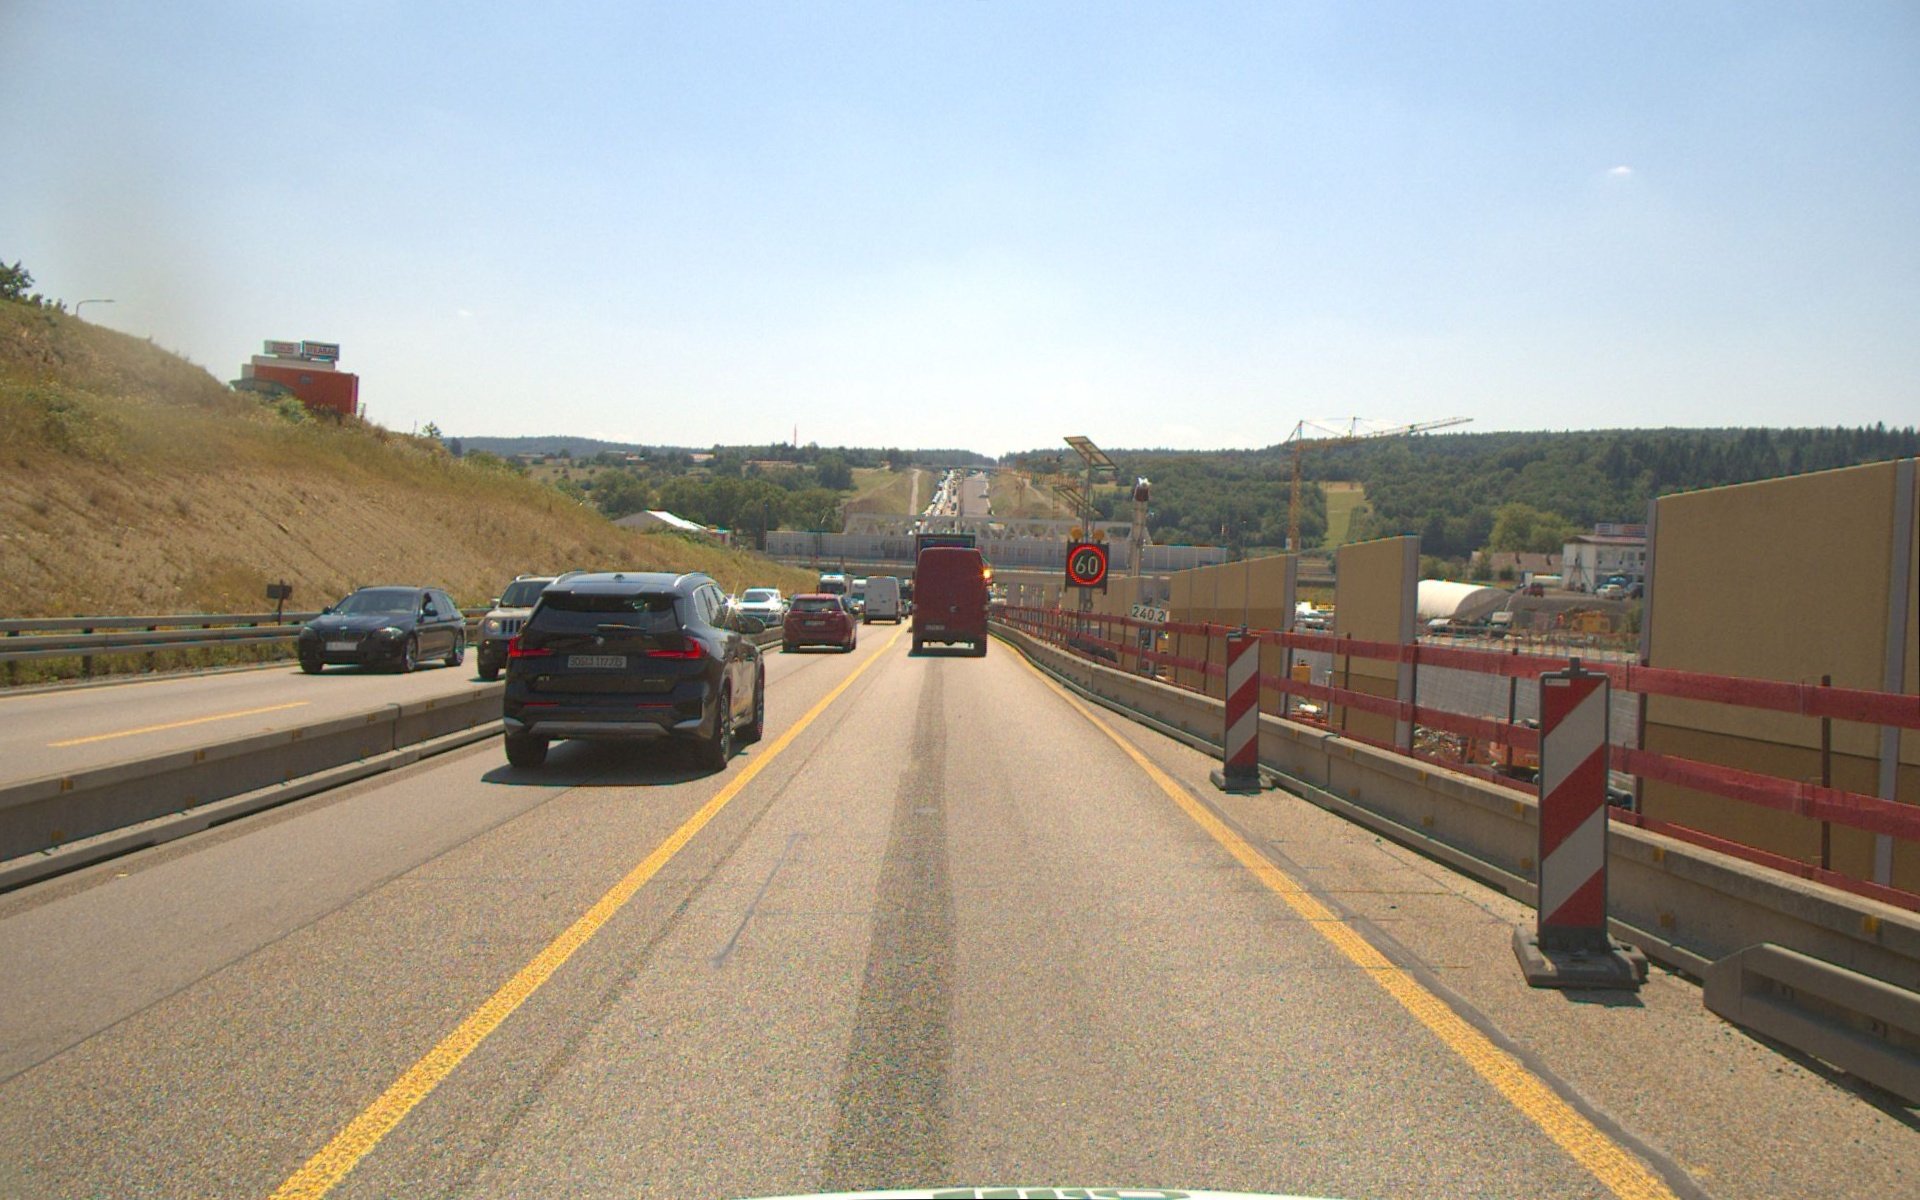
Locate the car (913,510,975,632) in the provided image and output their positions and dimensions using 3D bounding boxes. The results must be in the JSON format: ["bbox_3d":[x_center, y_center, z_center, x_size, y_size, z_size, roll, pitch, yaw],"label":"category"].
[{"bbox_3d":[-0.765,-1.221,74.924,2.568,5.120,10.394,0,0,-1],"label":"car"}]

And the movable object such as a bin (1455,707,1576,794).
[{"bbox_3d":[19.285,5.186,57.661,2.555,2.533,4.453,2,0,-1],"label":"movable object such as a bin"}]

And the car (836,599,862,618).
[{"bbox_3d":[-8.619,0.624,128.977,1.760,1.452,4.948,1,0,-1],"label":"car"}]

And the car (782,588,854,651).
[{"bbox_3d":[-3.645,0.477,43.096,1.740,1.544,4.203,0,0,-3],"label":"car"}]

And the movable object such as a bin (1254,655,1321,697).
[{"bbox_3d":[23.262,5.389,117.892,3.099,2.488,7.894,3,0,0],"label":"movable object such as a bin"}]

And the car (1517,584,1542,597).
[{"bbox_3d":[60.389,-0.957,175.312,1.483,1.339,3.430,1,0,1],"label":"car"}]

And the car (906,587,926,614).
[{"bbox_3d":[-3.887,0.053,146.169,1.740,2.370,4.205,0,0,-1],"label":"car"}]

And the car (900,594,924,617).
[{"bbox_3d":[-3.600,0.409,124.756,1.740,1.699,4.027,0,0,-1],"label":"car"}]

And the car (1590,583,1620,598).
[{"bbox_3d":[67.910,-0.993,174.174,1.646,1.544,4.075,1,0,1],"label":"car"}]

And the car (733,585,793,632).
[{"bbox_3d":[-7.441,0.298,62.894,1.802,1.683,5.369,0,0,-1],"label":"car"}]

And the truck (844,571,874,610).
[{"bbox_3d":[-9.436,-0.870,154.820,2.487,3.433,7.036,1,0,-1],"label":"truck"}]

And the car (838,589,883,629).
[{"bbox_3d":[-4.275,0.367,71.747,1.802,1.683,4.163,0,0,-2],"label":"car"}]

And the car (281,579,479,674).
[{"bbox_3d":[-10.326,0.449,29.833,1.953,1.533,4.717,1,0,-1],"label":"car"}]

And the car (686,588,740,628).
[{"bbox_3d":[-10.676,0.335,71.747,1.650,1.613,5.125,1,0,-1],"label":"car"}]

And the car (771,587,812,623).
[{"bbox_3d":[-8.802,0.252,86.691,1.740,1.822,4.205,0,0,-1],"label":"car"}]

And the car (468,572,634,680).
[{"bbox_3d":[-6.892,0.415,28.332,1.795,1.695,4.413,1,0,-1],"label":"car"}]

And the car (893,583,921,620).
[{"bbox_3d":[-3.516,0.085,109.921,1.740,2.370,4.205,0,0,-1],"label":"car"}]

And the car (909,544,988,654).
[{"bbox_3d":[-0.326,-0.030,43.308,1.948,2.737,4.622,0,0,-1],"label":"car"}]

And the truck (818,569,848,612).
[{"bbox_3d":[-12.533,-0.894,163.136,2.643,4.121,3.954,1,0,-1],"label":"truck"}]

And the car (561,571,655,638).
[{"bbox_3d":[-10.936,0.117,51.754,1.997,1.960,5.120,0,0,-2],"label":"car"}]

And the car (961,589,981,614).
[{"bbox_3d":[1.045,0.167,158.355,1.740,2.370,4.205,0,0,-1],"label":"car"}]

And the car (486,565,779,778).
[{"bbox_3d":[-2.787,0.552,15.092,1.841,1.646,4.498,0,0,-1],"label":"car"}]

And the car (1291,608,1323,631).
[{"bbox_3d":[32.523,1.819,155.222,1.769,2.049,4.823,1,0,-3],"label":"car"}]

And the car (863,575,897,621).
[{"bbox_3d":[-4.340,-0.116,90.266,1.740,2.484,4.205,0,0,-1],"label":"car"}]
